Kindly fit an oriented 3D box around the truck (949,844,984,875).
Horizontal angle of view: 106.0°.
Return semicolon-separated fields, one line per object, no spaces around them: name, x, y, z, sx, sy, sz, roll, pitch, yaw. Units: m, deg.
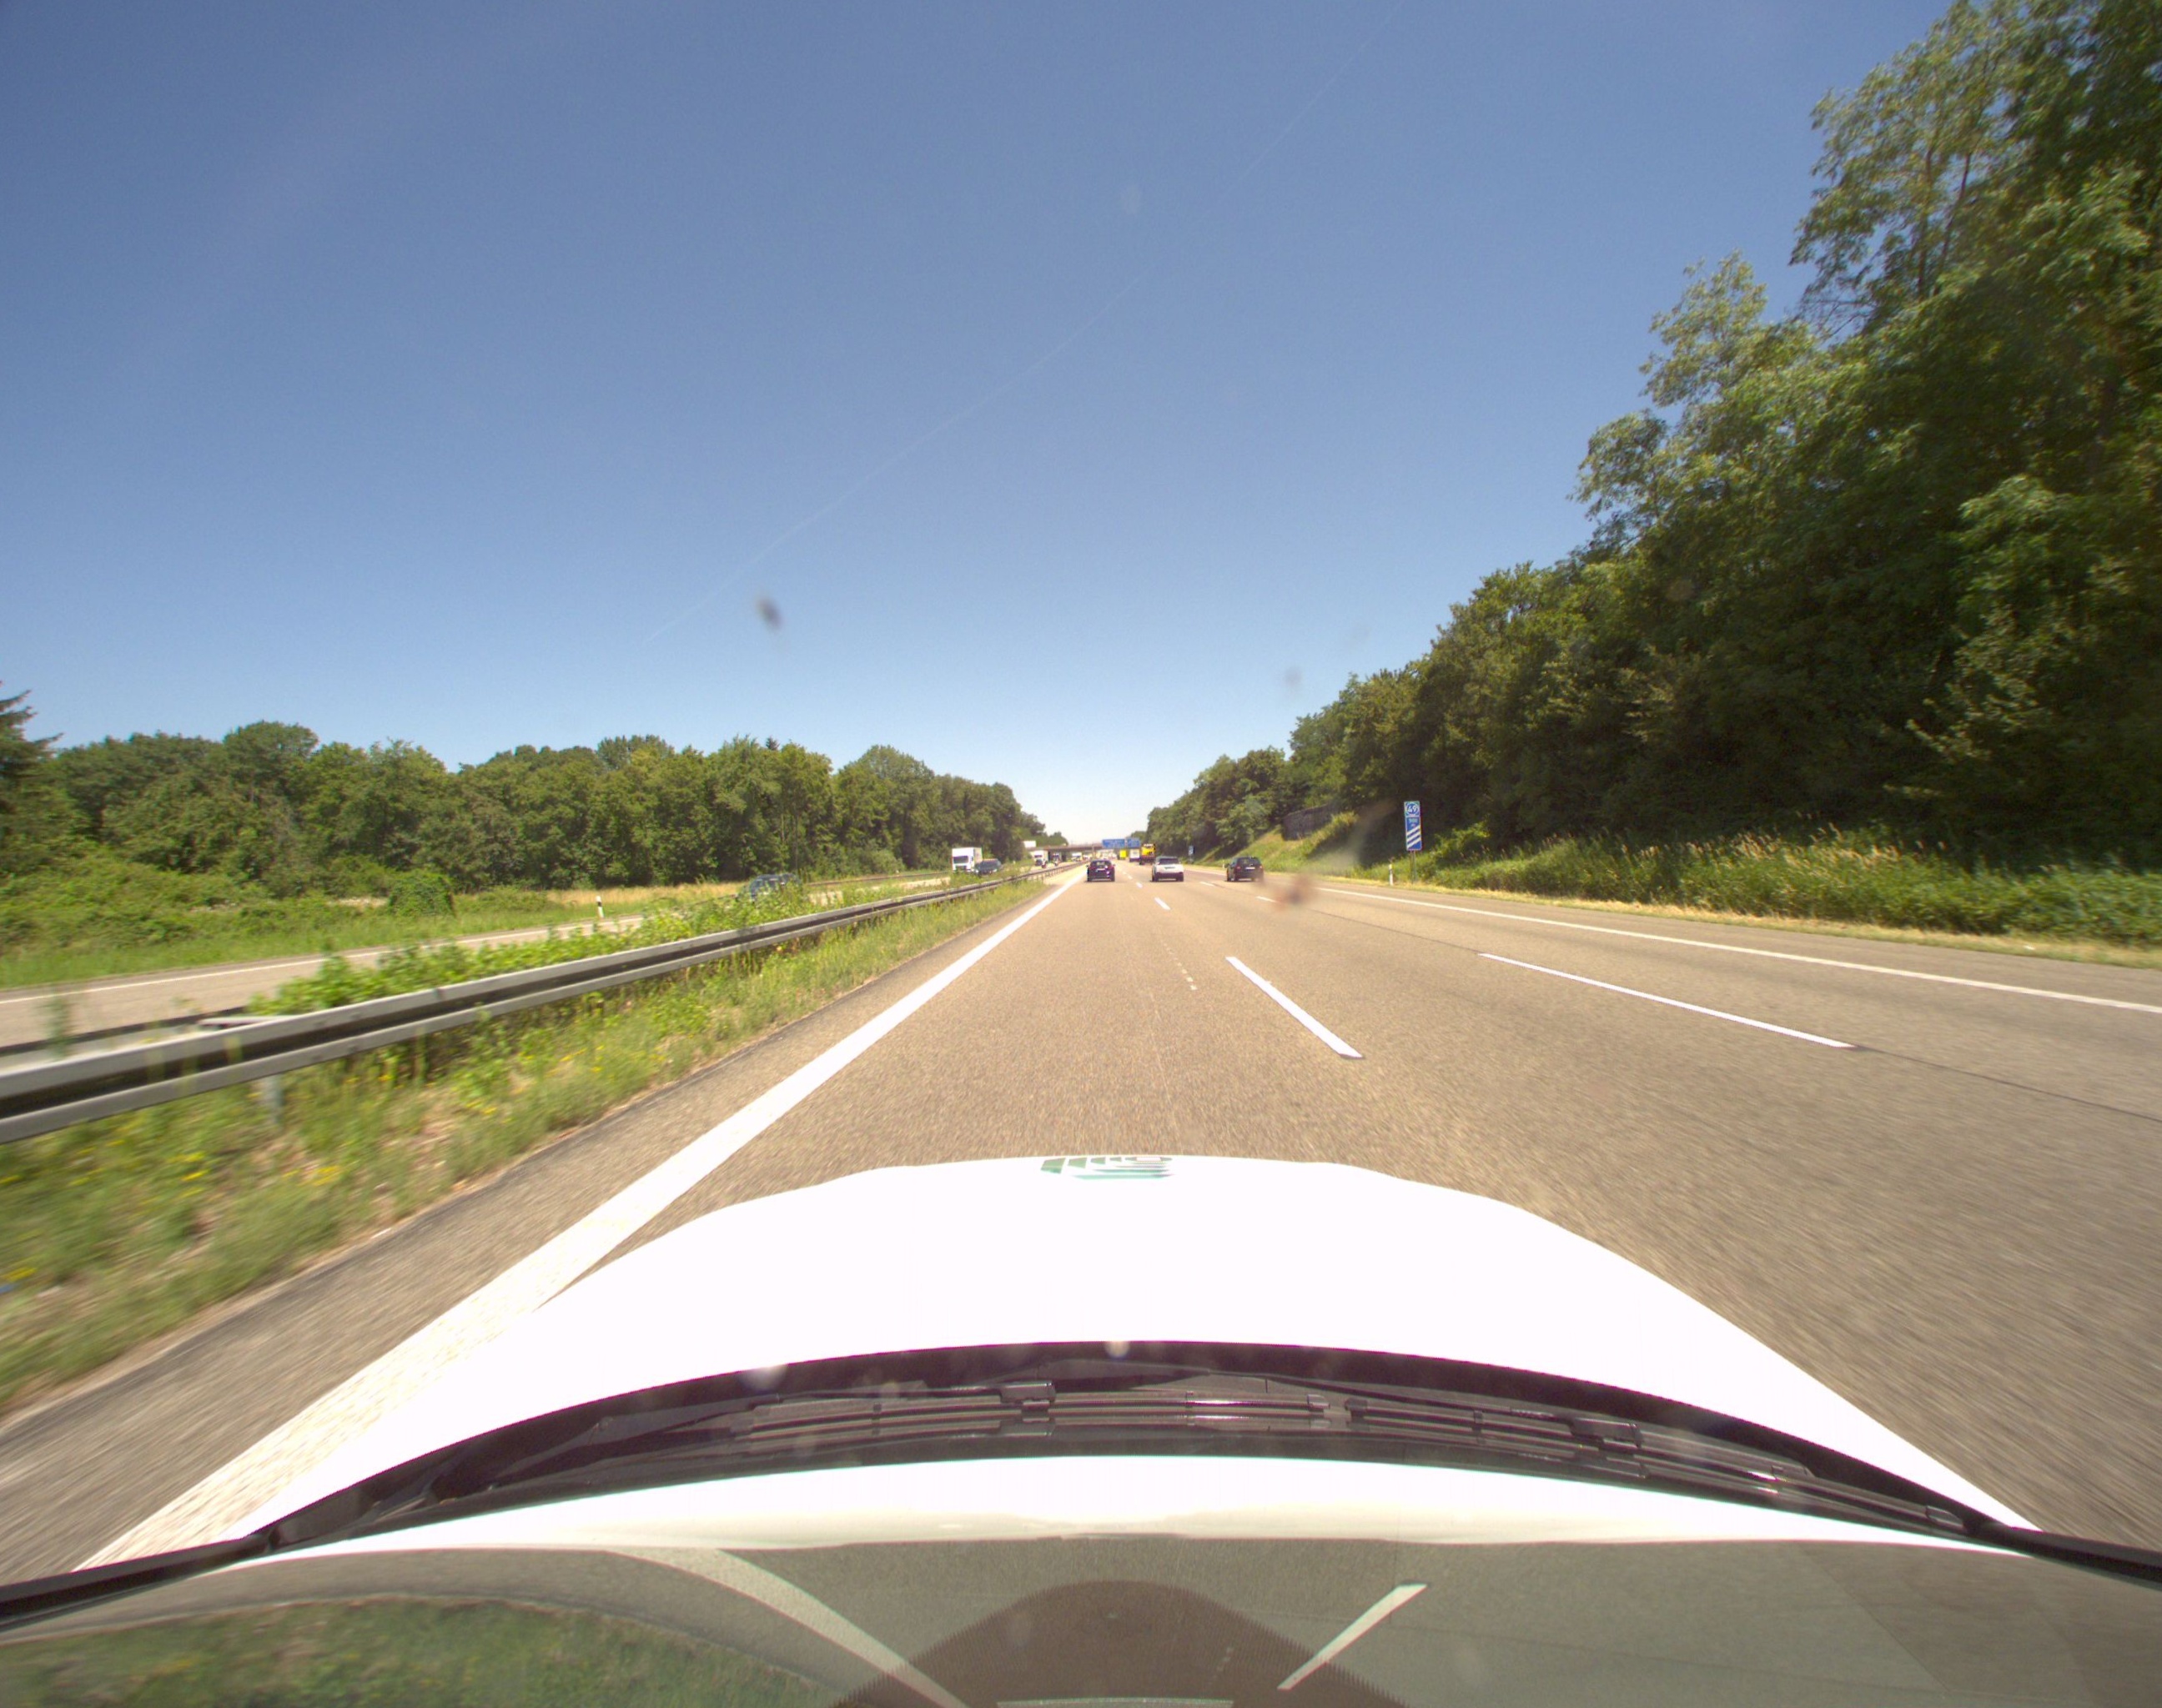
truck;-14.746;0.667;105.893;2.786;3.632;10.697;-3;0;1

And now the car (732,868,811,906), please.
car;-14.244;1.473;37.804;1.793;1.532;4.678;-1;0;1

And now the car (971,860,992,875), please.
car;-10.970;1.432;89.929;1.793;1.532;4.241;-1;0;0

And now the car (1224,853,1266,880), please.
car;9.439;0.696;47.044;1.782;1.461;3.952;-1;0;2

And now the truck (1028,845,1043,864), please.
truck;-11.694;0.147;211.456;2.946;4.515;12.640;-3;0;1

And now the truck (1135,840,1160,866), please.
truck;12.289;-0.065;151.756;3.635;4.590;15.767;-1;0;1

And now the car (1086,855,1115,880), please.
car;1.233;0.858;53.141;1.793;1.502;4.241;-1;0;1

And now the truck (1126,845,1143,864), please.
truck;14.123;0.185;217.356;3.635;4.590;17.248;-1;0;1

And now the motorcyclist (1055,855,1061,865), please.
motorcyclist;-4.408;1.184;155.411;1.148;1.815;1.027;-2;-1;1

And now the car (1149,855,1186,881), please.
car;5.359;0.828;50.945;1.893;1.532;4.241;-1;0;1

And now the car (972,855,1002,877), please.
car;-7.546;0.913;65.757;1.793;1.696;4.242;-1;0;1

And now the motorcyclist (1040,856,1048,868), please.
motorcyclist;-5.766;1.233;126.939;1.148;1.815;1.027;-2;-1;1
